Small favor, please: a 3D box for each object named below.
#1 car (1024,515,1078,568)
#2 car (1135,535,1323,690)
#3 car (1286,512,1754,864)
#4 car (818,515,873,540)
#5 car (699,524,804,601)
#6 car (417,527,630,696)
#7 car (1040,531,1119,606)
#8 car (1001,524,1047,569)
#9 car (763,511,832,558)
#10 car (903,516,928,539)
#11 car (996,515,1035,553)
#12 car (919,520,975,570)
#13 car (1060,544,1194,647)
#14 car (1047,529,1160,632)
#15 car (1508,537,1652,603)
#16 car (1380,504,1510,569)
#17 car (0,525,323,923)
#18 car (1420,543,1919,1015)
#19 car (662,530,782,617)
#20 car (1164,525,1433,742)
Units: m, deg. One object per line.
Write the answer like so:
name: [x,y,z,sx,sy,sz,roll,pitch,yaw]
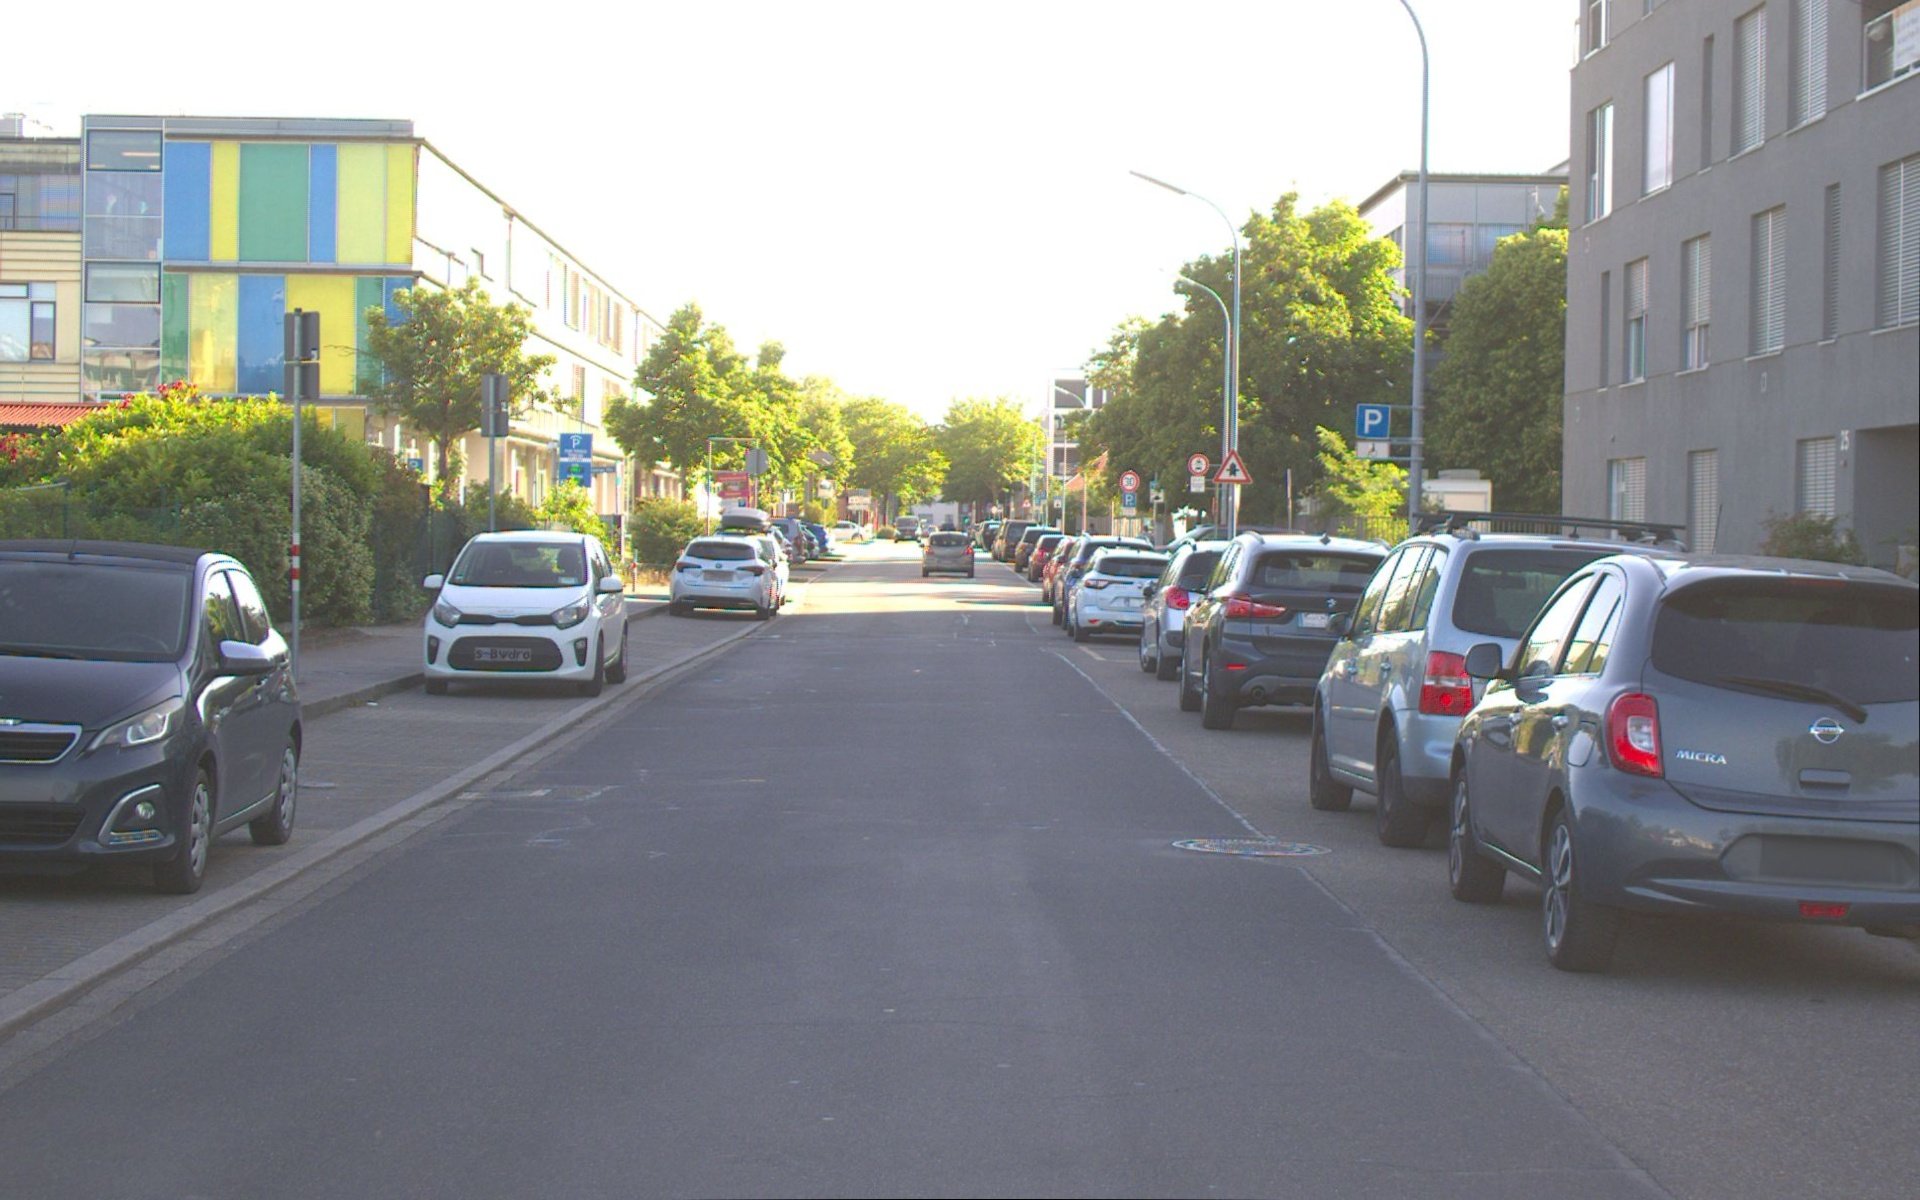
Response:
car: [2.834,-1.837,107.514,1.445,1.544,3.614,3,1,-1]
car: [2.917,0.091,37.951,1.657,1.546,3.851,3,1,-1]
car: [2.895,0.382,18.633,1.676,1.603,4.179,3,1,-1]
car: [-7.870,-4.955,236.352,3.601,1.544,1.450,3,1,-5]
car: [-4.182,-0.772,69.522,1.854,1.423,4.134,3,1,-1]
car: [-4.064,0.069,32.460,1.559,1.489,3.759,1,1,-1]
car: [2.596,-0.707,75.310,1.445,1.544,3.614,3,1,-1]
car: [2.288,-1.934,123.518,1.445,1.544,3.614,3,1,-1]
car: [-5.690,-2.292,121.047,1.855,1.558,4.133,3,1,4]
car: [-3.169,-5.095,242.967,1.664,1.544,3.902,3,1,-1]
car: [2.389,-2.852,148.918,1.445,1.544,3.614,3,1,-1]
car: [-0.434,-1.792,111.579,1.689,1.544,3.614,3,1,-1]
car: [2.530,-0.100,52.895,1.741,1.423,4.134,3,1,-1]
car: [2.424,-0.359,58.902,1.632,1.625,3.614,3,1,-1]
car: [15.052,-0.737,83.578,3.216,1.455,1.450,3,1,3]
car: [12.919,-1.693,91.685,3.216,1.544,1.450,3,1,3]
car: [-3.993,0.453,15.417,1.559,1.489,3.571,4,1,-1]
car: [2.919,0.586,13.589,1.622,1.521,3.901,3,1,0]
car: [-4.235,-0.506,61.794,1.854,1.423,4.134,3,1,-1]
car: [2.769,0.220,28.956,1.741,1.619,4.179,3,1,-1]
